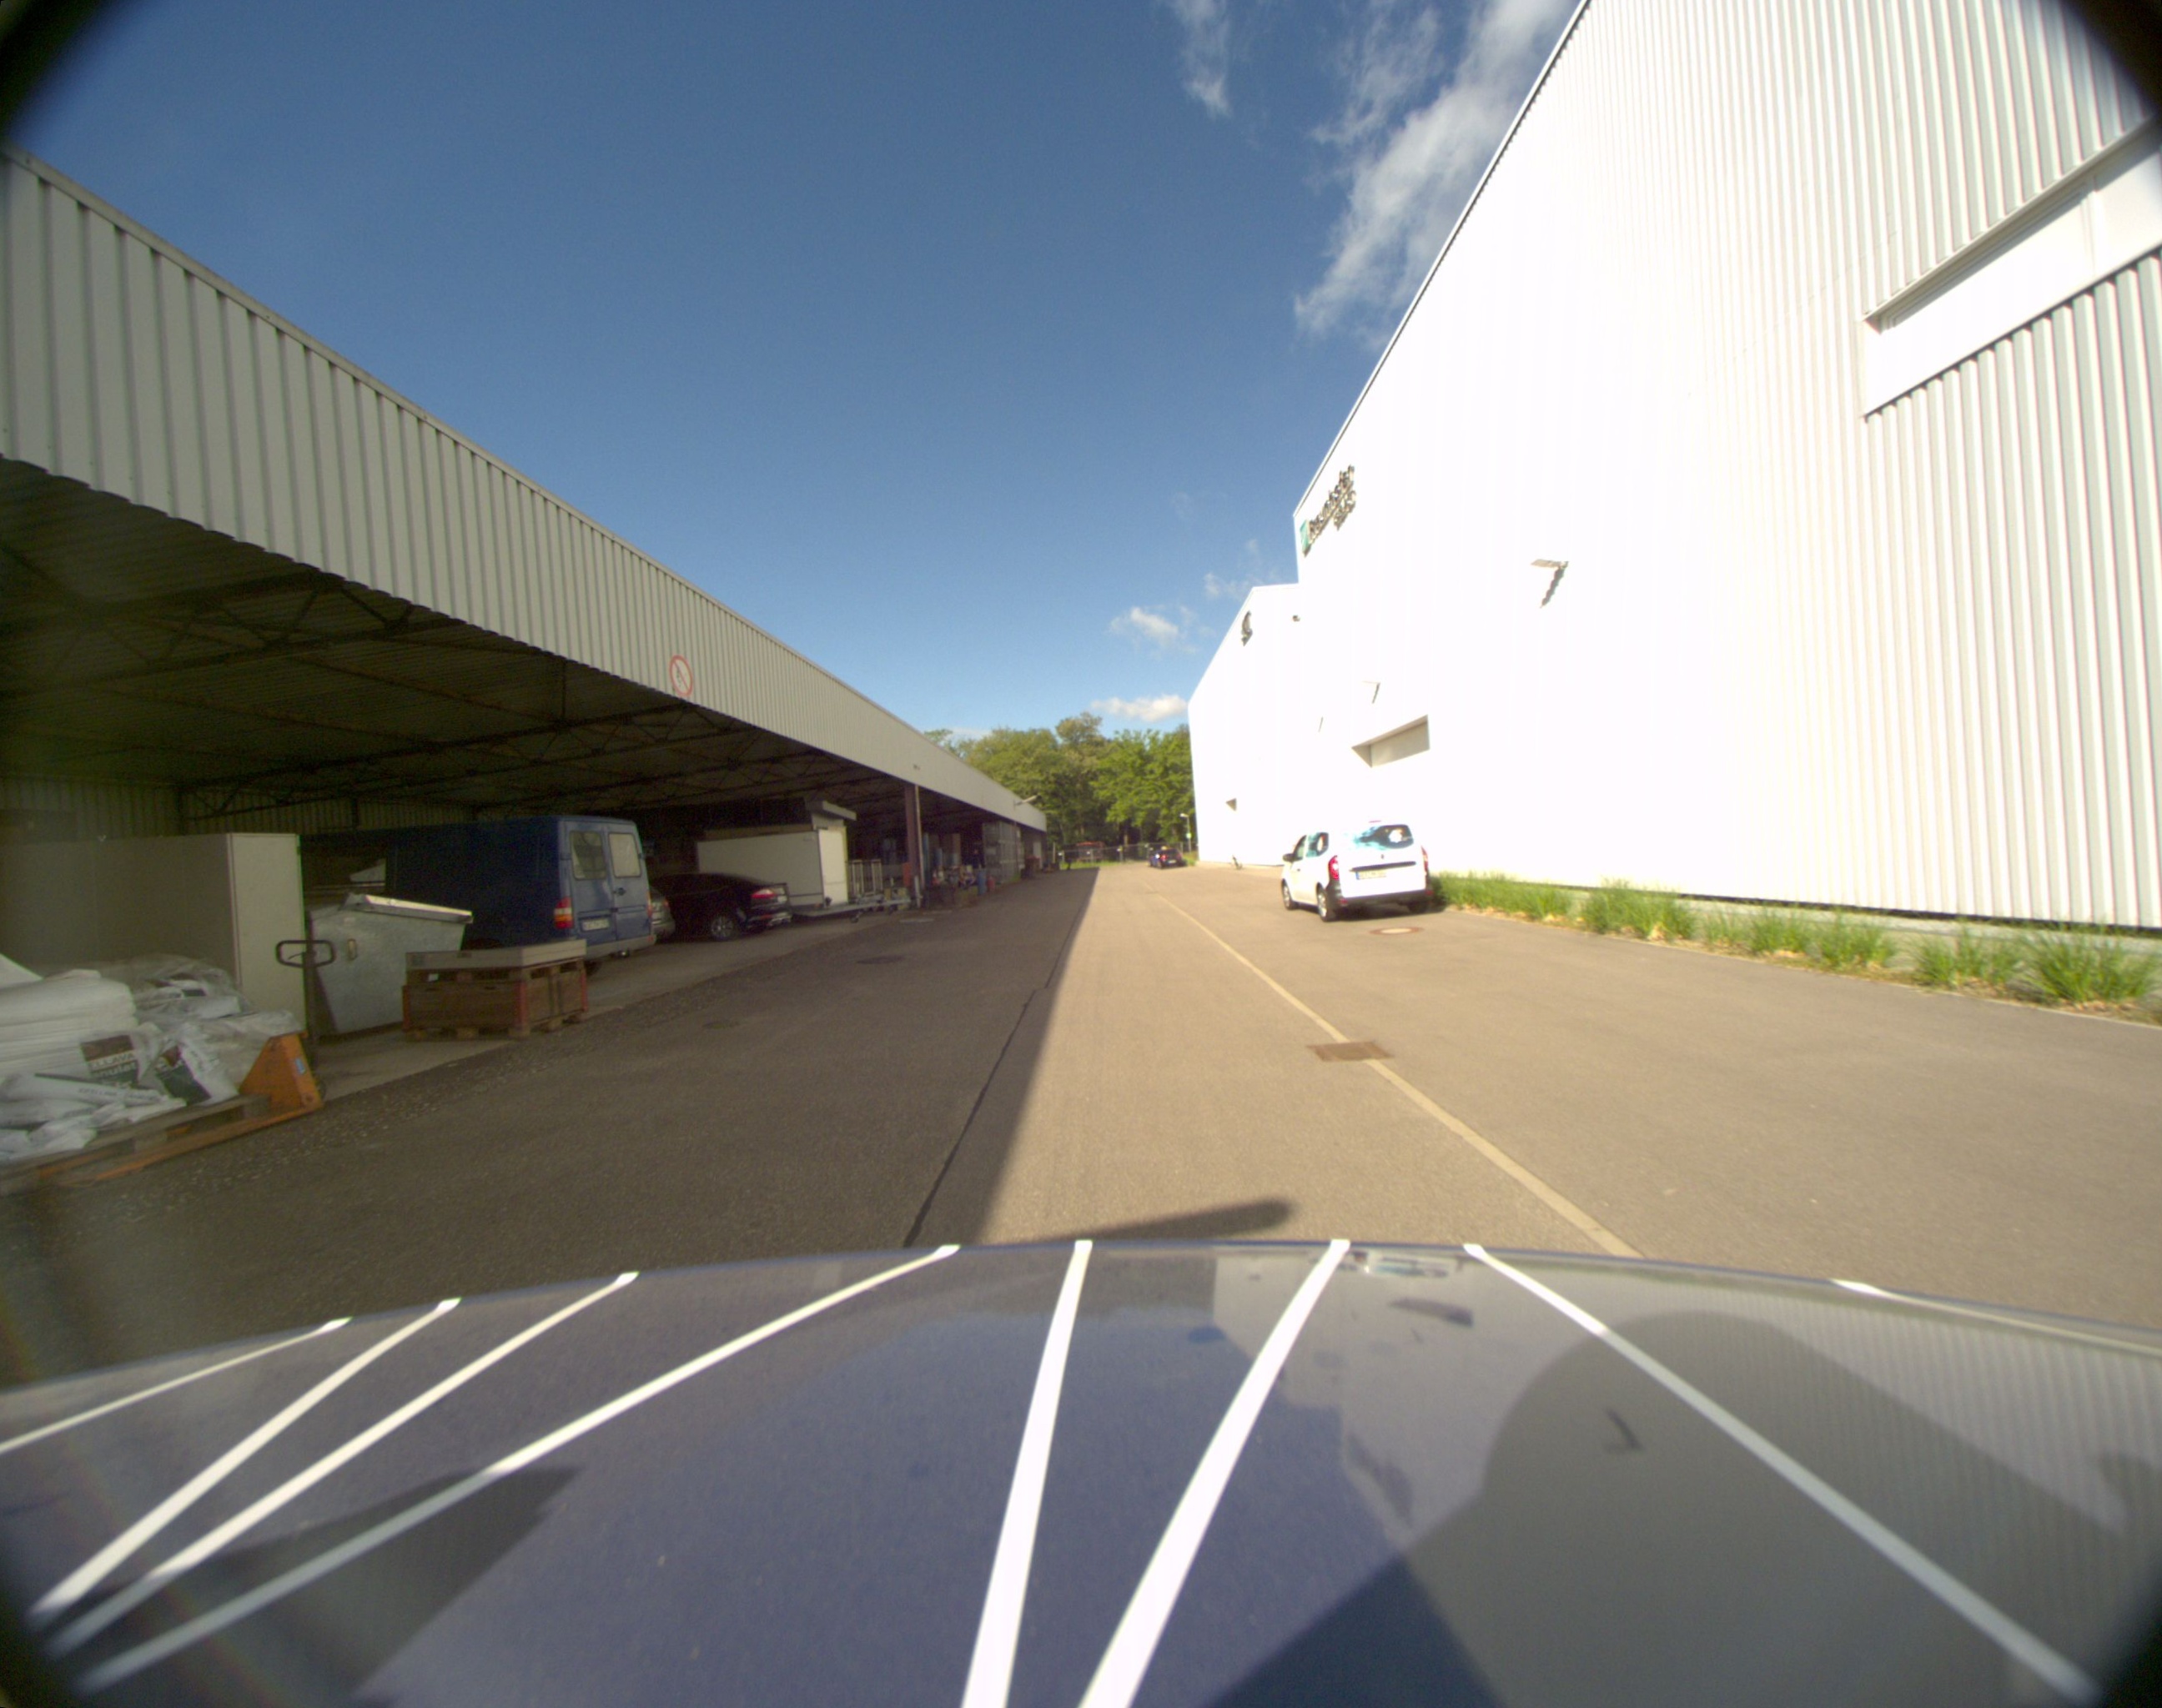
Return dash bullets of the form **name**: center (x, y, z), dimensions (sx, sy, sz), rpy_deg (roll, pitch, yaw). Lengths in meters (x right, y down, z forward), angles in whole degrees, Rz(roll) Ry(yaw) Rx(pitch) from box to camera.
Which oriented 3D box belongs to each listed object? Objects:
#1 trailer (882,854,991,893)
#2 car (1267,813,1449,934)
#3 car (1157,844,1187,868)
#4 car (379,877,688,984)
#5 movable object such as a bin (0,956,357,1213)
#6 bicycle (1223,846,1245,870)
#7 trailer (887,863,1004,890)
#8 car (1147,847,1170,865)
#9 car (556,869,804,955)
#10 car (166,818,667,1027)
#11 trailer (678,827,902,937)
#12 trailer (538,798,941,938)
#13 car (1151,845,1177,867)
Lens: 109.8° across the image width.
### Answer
- **trailer**: center (-7.017, 0.919, 37.350), dimensions (4.879, 1.619, 2.029), rpy_deg (-3, 1, 1)
- **car**: center (5.180, 0.317, 14.905), dimensions (1.895, 1.835, 4.358), rpy_deg (-6, 0, 1)
- **car**: center (6.832, 0.142, 57.562), dimensions (1.895, 1.513, 4.001), rpy_deg (-7, 0, 4)
- **car**: center (-9.420, 1.274, 13.352), dimensions (3.998, 1.464, 1.788), rpy_deg (-3, 1, -3)
- **movable object such as a bin**: center (-5.322, 1.295, 4.586), dimensions (0.583, 1.157, 1.238), rpy_deg (-3, 1, 6)
- **bicycle**: center (8.392, 0.214, 41.588), dimensions (0.909, 1.136, 1.901), rpy_deg (-7, 1, 17)
- **trailer**: center (-7.183, 1.179, 40.707), dimensions (5.837, 1.113, 2.029), rpy_deg (-3, 0, 1)
- **car**: center (6.930, 0.153, 68.317), dimensions (1.789, 1.431, 4.001), rpy_deg (-3, 0, 4)
- **car**: center (-8.541, 1.199, 16.455), dimensions (4.340, 1.487, 1.777), rpy_deg (-3, 1, -1)
- **car**: center (-8.755, 0.850, 10.359), dimensions (4.991, 2.312, 2.000), rpy_deg (-3, 1, 2)
- **trailer**: center (-7.198, 0.679, 19.052), dimensions (4.822, 2.377, 1.827), rpy_deg (-3, 1, 7)
- **trailer**: center (-9.399, 0.379, 21.655), dimensions (10.061, 3.197, 2.854), rpy_deg (-3, 1, 2)
- **car**: center (6.865, 0.140, 62.814), dimensions (1.789, 1.513, 4.001), rpy_deg (-7, 0, 4)
